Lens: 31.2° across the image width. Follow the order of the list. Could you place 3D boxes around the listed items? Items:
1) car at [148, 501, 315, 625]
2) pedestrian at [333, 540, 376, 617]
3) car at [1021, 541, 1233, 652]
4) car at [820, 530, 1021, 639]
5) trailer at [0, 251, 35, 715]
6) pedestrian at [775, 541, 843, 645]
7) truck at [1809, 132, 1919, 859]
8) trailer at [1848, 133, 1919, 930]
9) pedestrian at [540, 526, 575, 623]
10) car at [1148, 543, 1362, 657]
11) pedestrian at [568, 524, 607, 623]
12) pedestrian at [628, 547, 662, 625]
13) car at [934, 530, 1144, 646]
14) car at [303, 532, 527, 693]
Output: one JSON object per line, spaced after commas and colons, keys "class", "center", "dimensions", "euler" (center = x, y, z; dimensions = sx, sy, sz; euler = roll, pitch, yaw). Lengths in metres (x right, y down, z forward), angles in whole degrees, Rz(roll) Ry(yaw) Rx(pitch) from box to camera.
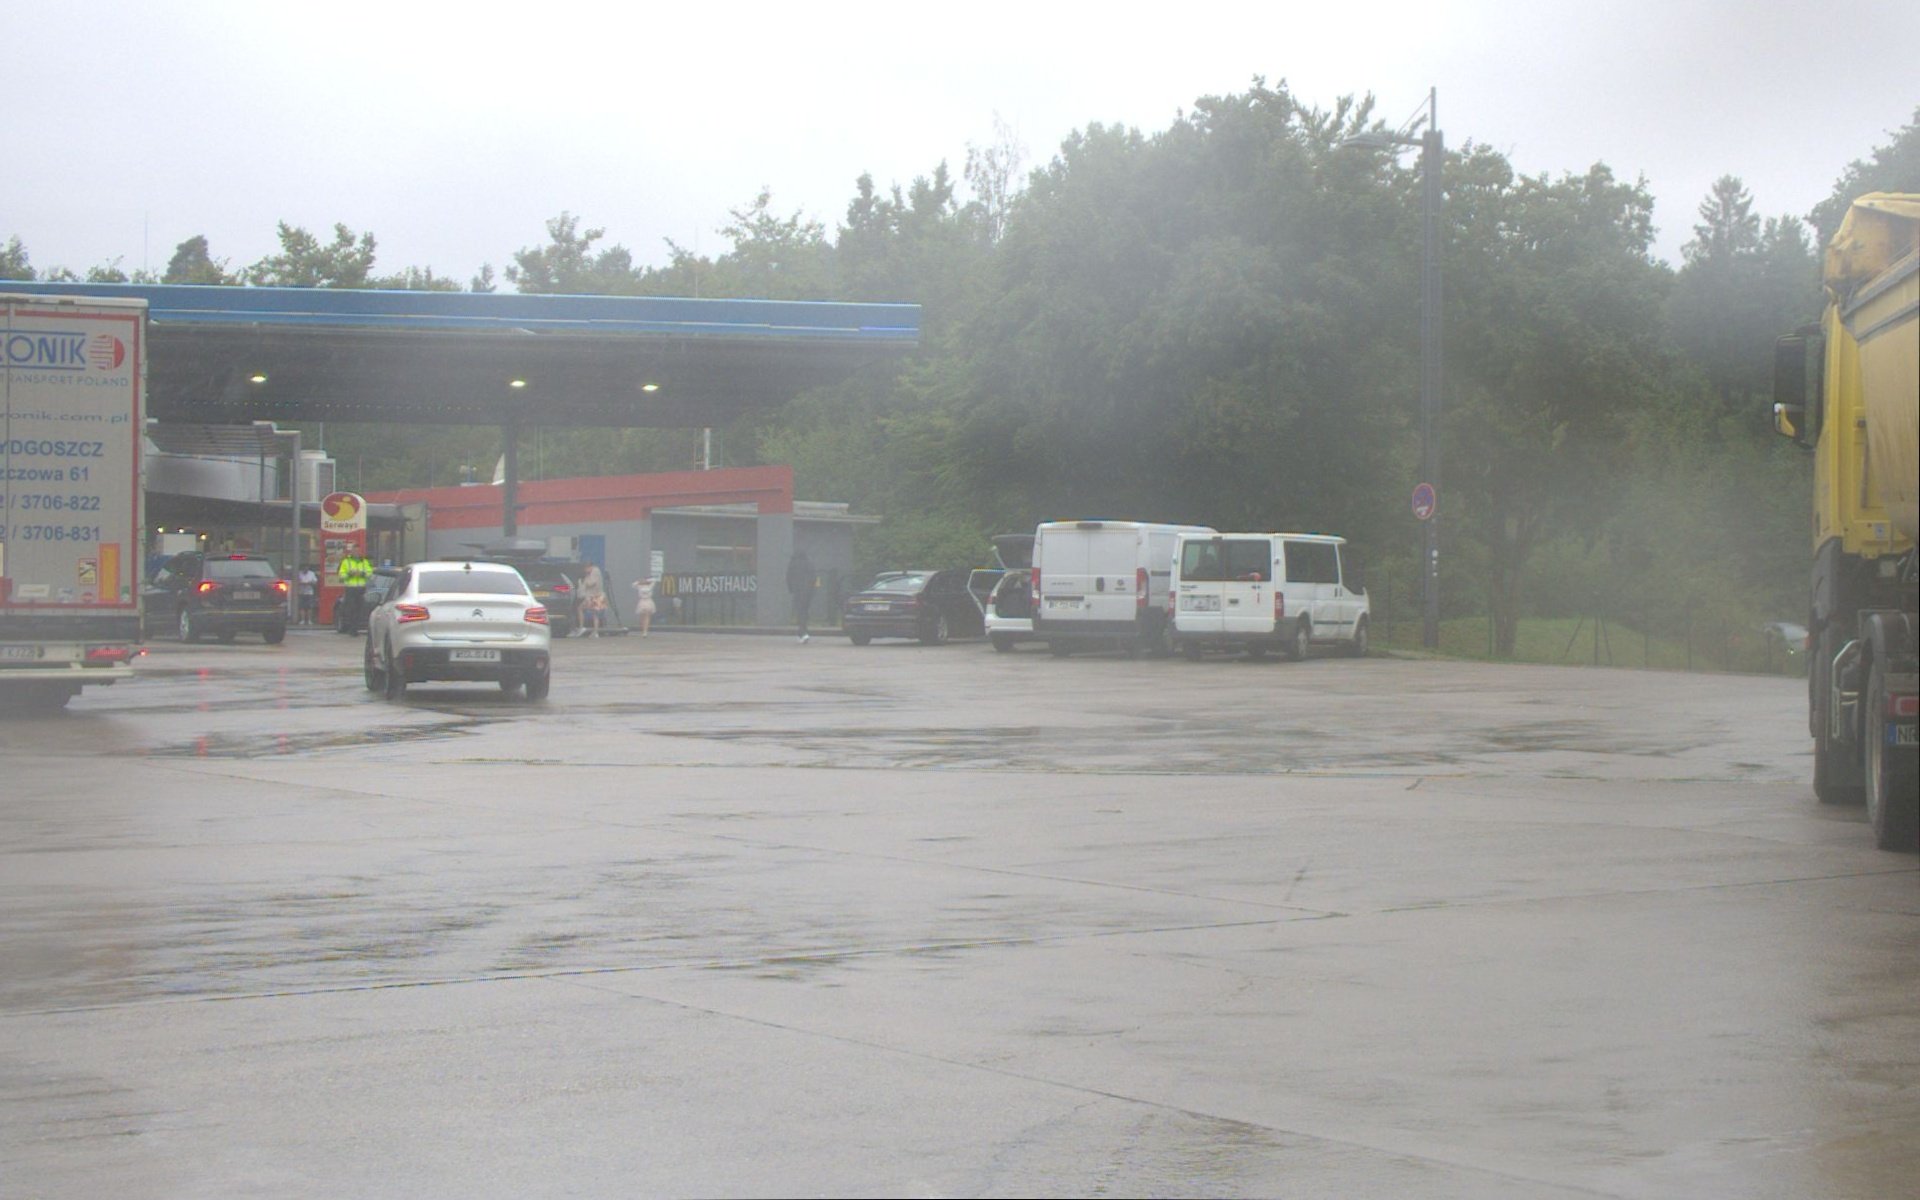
{"class": "car", "center": [-13.317, -0.639, 62.721], "dimensions": [1.993, 2.007, 4.000], "euler": [4, -3, -26]}
{"class": "pedestrian", "center": [-12.351, -0.439, 70.142], "dimensions": [0.718, 1.516, 0.742], "euler": [2, -3, -2]}
{"class": "car", "center": [2.781, -0.081, 56.346], "dimensions": [2.116, 1.722, 3.995], "euler": [1, 1, 25]}
{"class": "car", "center": [-0.686, -0.305, 63.524], "dimensions": [2.116, 1.930, 4.186], "euler": [1, 1, 25]}
{"class": "trailer", "center": [-12.310, -1.180, 37.673], "dimensions": [1.993, 4.544, 9.810], "euler": [1, 0, -28]}
{"class": "pedestrian", "center": [-2.823, -0.144, 64.362], "dimensions": [0.954, 1.913, 1.088], "euler": [1, 1, 17]}
{"class": "truck", "center": [6.171, -0.563, 19.918], "dimensions": [2.182, 3.815, 4.140], "euler": [1, 1, 11]}
{"class": "trailer", "center": [5.258, -0.308, 14.978], "dimensions": [2.183, 3.381, 7.560], "euler": [1, 1, 11]}
{"class": "pedestrian", "center": [-8.518, -0.529, 72.768], "dimensions": [0.586, 2.007, 0.638], "euler": [3, -3, -11]}
{"class": "car", "center": [4.706, -0.028, 54.338], "dimensions": [2.116, 1.722, 3.995], "euler": [1, 1, 25]}
{"class": "pedestrian", "center": [-7.766, -0.553, 71.628], "dimensions": [0.669, 2.007, 0.742], "euler": [2, -3, -2]}
{"class": "pedestrian", "center": [-6.299, -0.279, 68.717], "dimensions": [0.608, 1.534, 0.595], "euler": [1, -1, -10]}
{"class": "car", "center": [1.411, -0.228, 59.427], "dimensions": [2.116, 1.930, 4.186], "euler": [1, 1, 25]}
{"class": "car", "center": [-6.142, 0.136, 38.409], "dimensions": [1.993, 1.673, 4.001], "euler": [1, 0, -16]}
